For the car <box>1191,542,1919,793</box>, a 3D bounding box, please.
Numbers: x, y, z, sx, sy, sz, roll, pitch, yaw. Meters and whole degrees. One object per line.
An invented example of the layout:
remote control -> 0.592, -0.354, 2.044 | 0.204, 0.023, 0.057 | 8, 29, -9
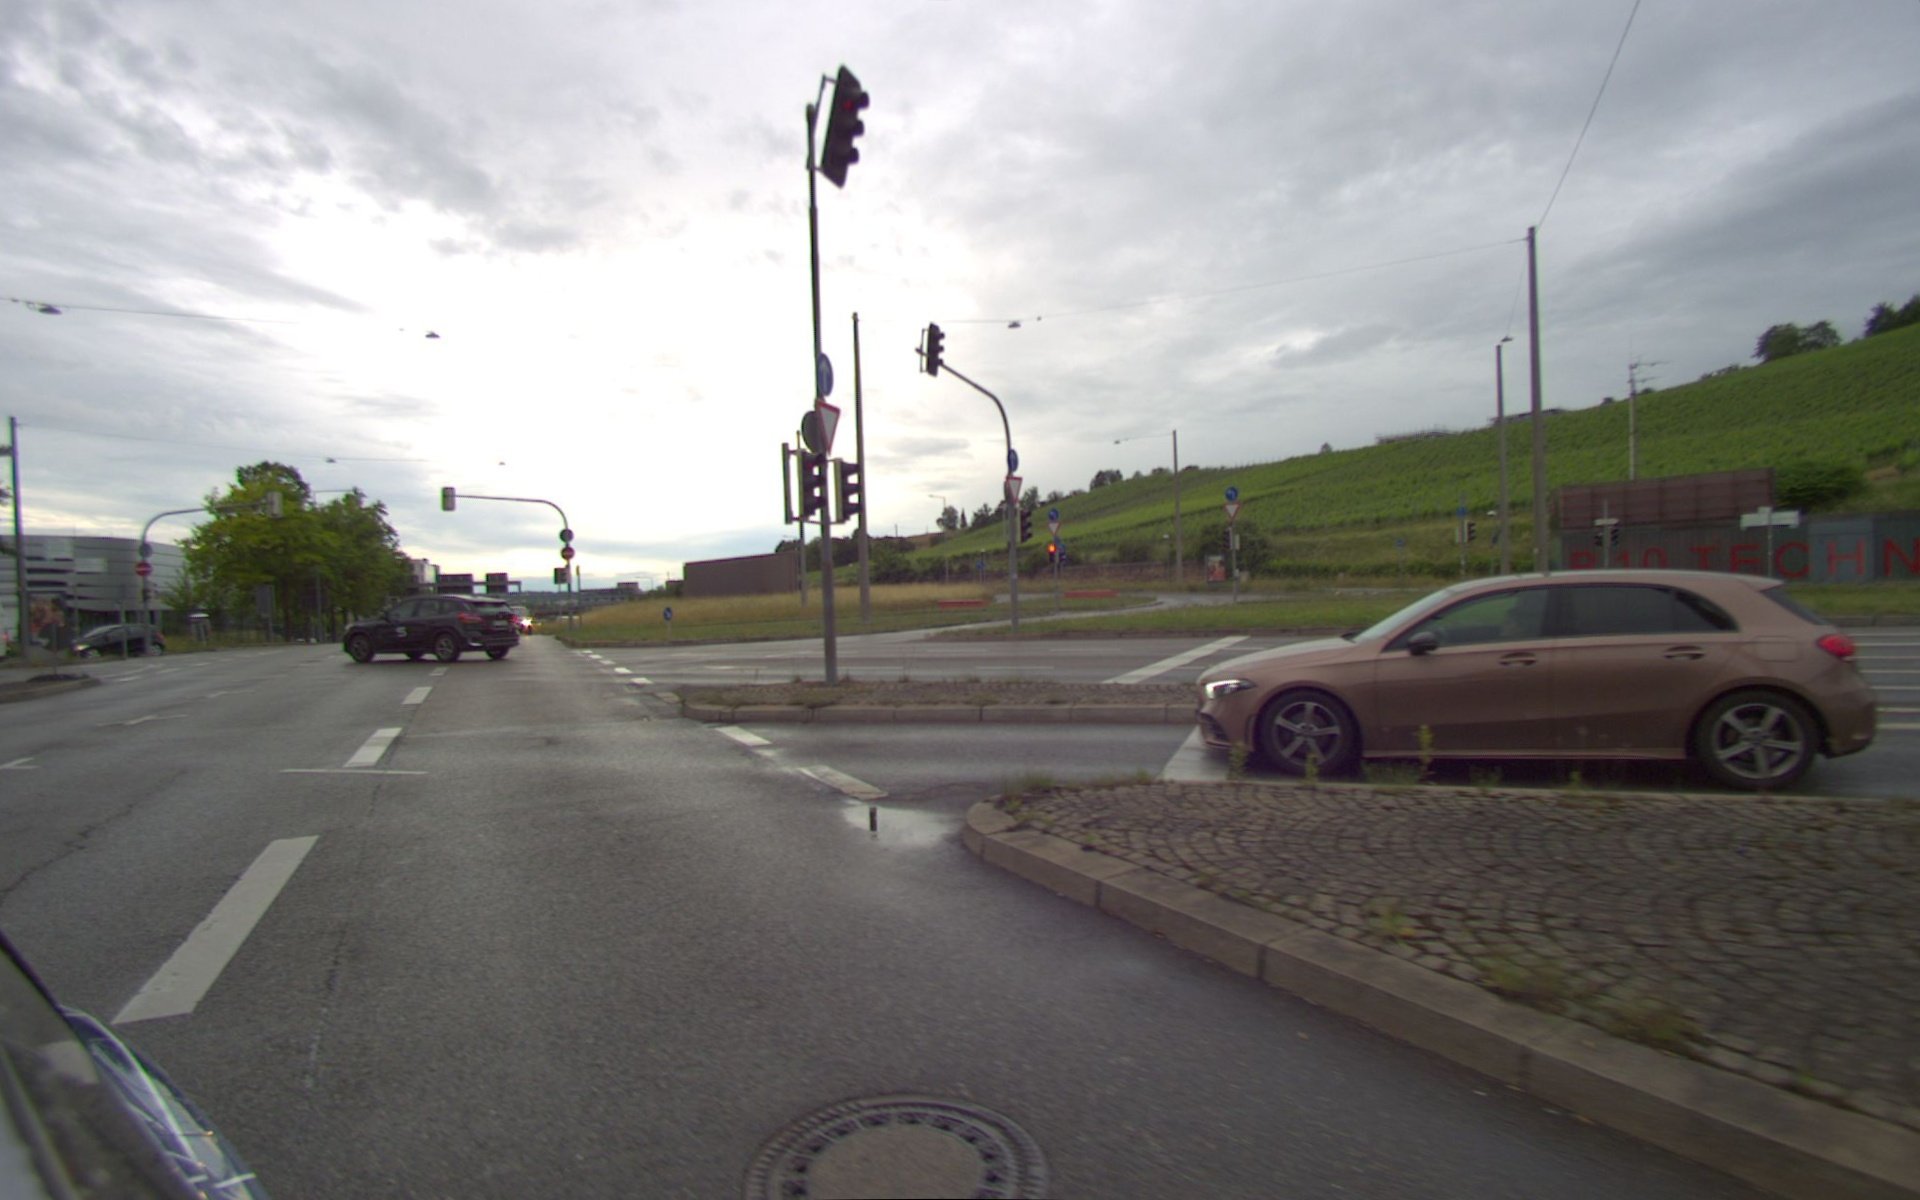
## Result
car -> 4.065, 0.442, 7.548 | 4.313, 1.472, 1.726 | -2, 1, 23

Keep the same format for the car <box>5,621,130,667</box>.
car -> -39.352, 1.896, 44.733 | 1.781, 1.726, 3.994 | -2, 1, 5

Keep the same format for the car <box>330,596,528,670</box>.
car -> -13.136, 0.809, 25.064 | 4.302, 1.608, 1.730 | -2, 1, 16

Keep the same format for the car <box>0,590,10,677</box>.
car -> -31.361, 1.131, 29.972 | 5.404, 2.604, 1.924 | -2, 1, 13
